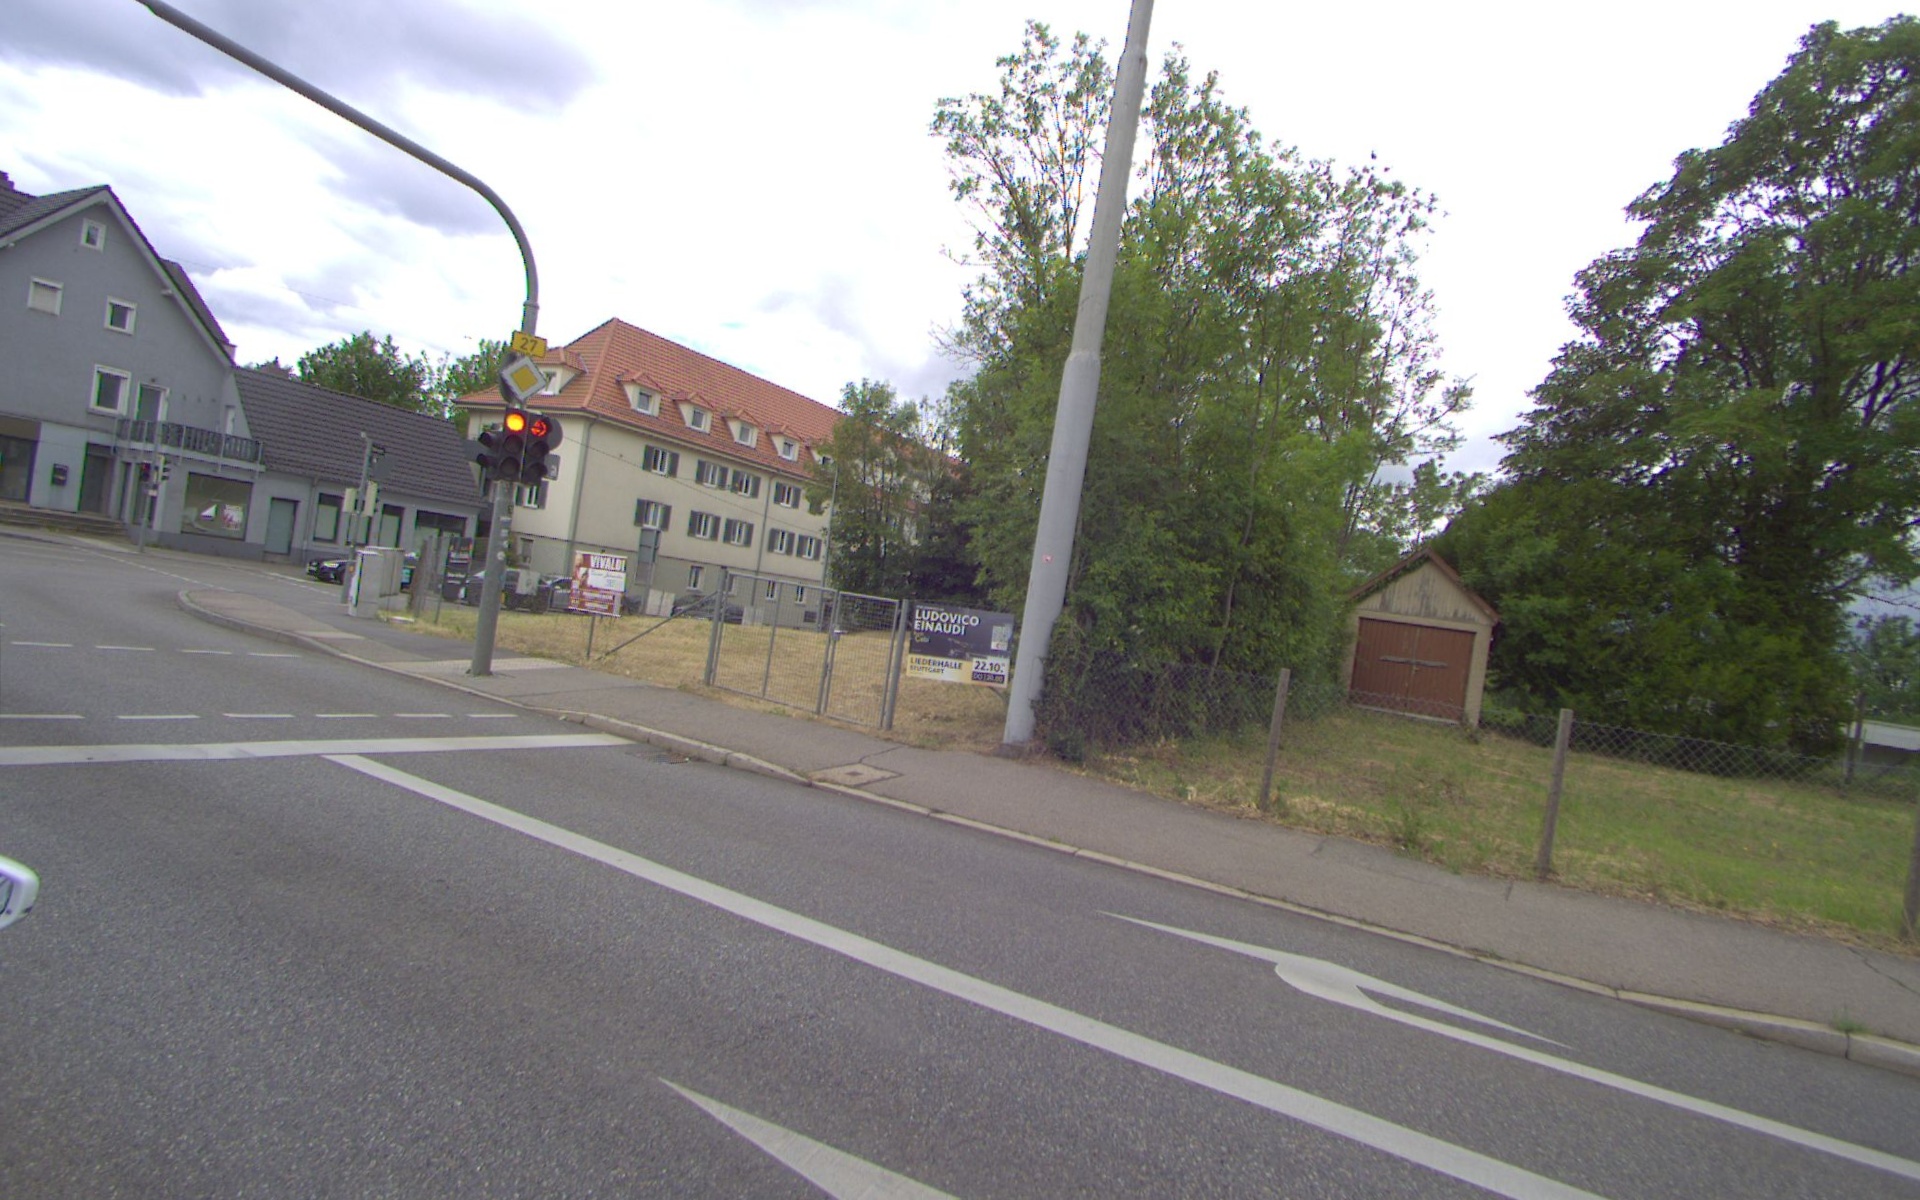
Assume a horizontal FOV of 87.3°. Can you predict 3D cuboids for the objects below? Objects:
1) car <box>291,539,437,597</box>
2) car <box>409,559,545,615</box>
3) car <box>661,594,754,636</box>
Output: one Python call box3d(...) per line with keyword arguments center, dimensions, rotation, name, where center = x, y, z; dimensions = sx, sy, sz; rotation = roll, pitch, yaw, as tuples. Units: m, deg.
box3d(center=(-21.567, -1.125, 36.573), dimensions=(1.769, 1.386, 4.100), rotation=(7, -3, 30), name="car")
box3d(center=(-17.613, -0.428, 36.897), dimensions=(1.769, 1.386, 4.100), rotation=(7, -3, 30), name="car")
box3d(center=(-11.858, 0.749, 47.548), dimensions=(1.769, 1.386, 4.100), rotation=(7, -3, 30), name="car")
